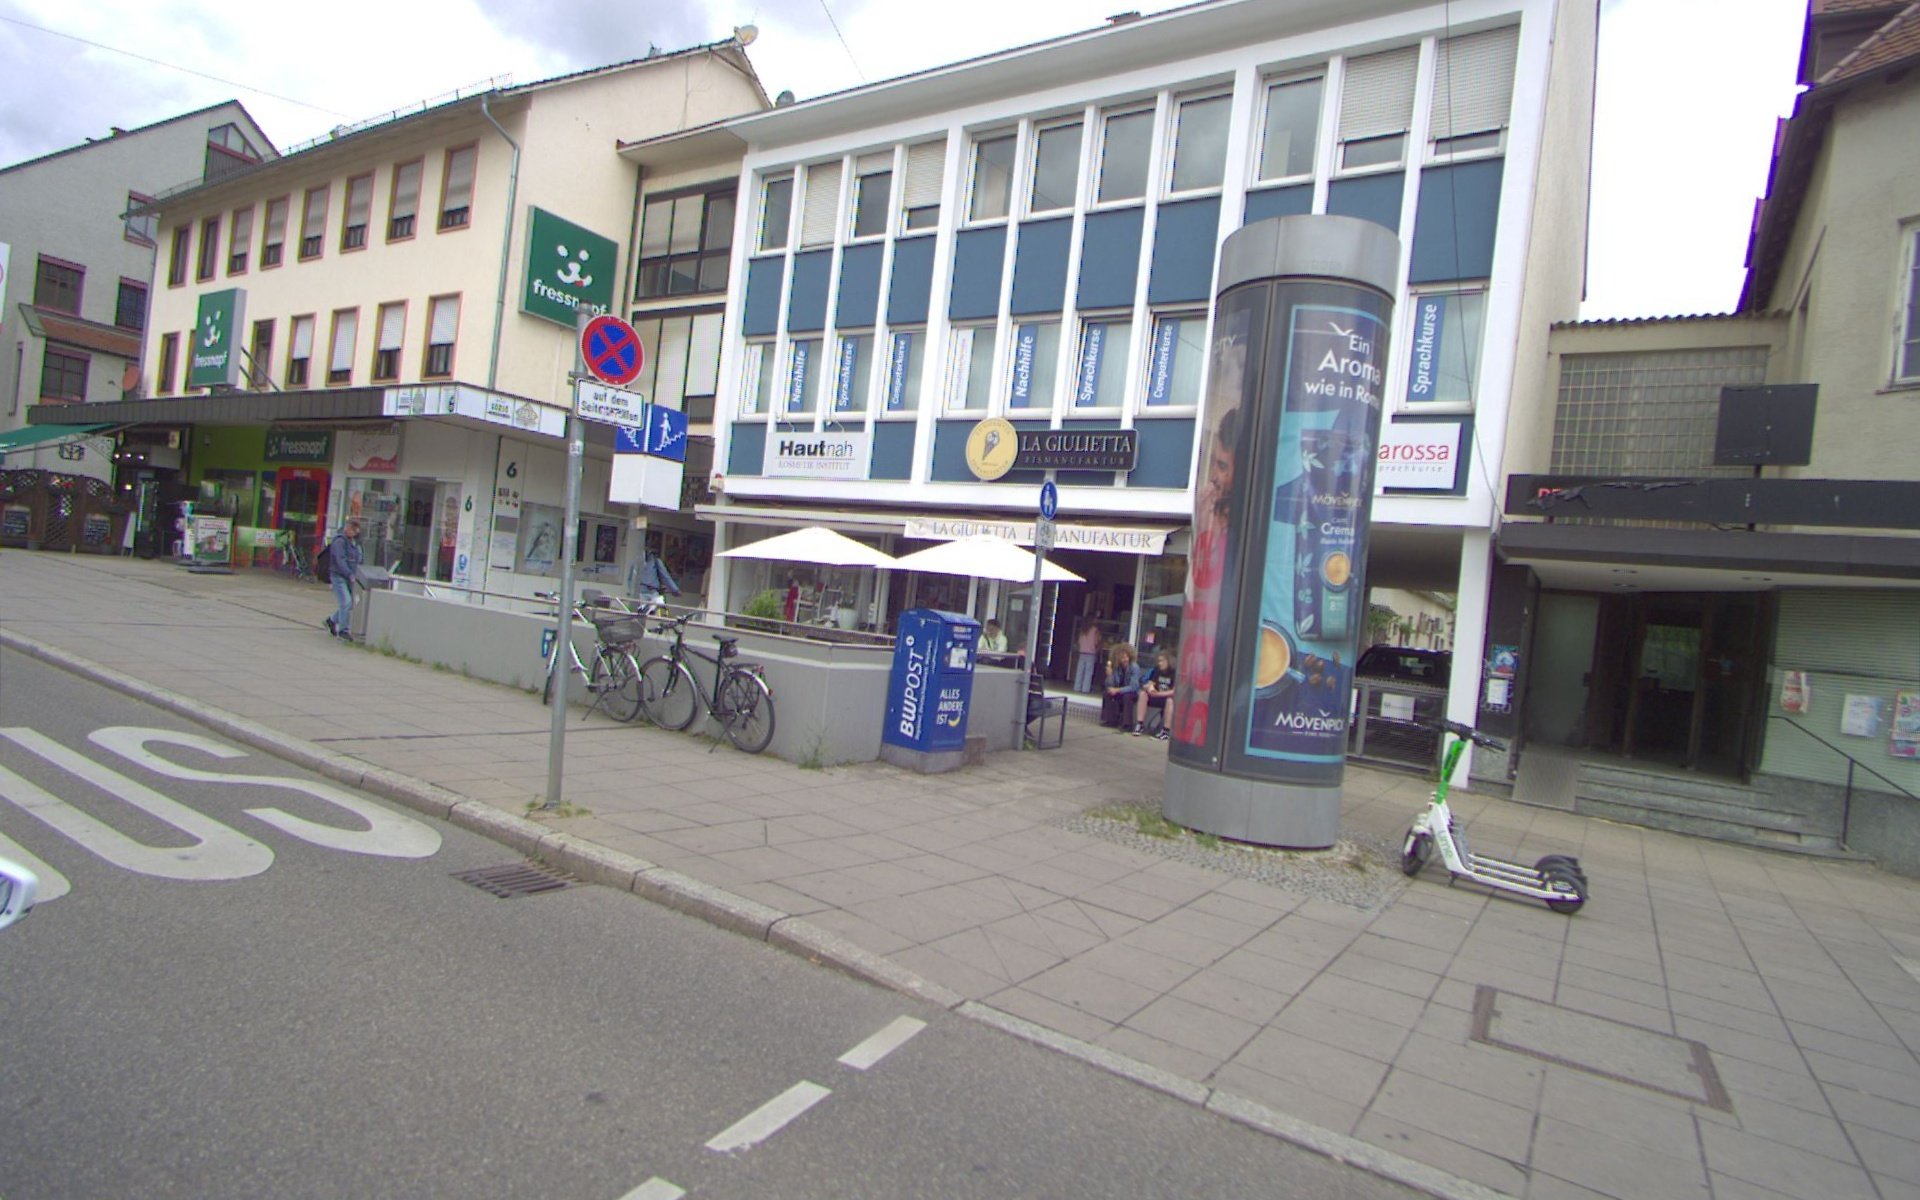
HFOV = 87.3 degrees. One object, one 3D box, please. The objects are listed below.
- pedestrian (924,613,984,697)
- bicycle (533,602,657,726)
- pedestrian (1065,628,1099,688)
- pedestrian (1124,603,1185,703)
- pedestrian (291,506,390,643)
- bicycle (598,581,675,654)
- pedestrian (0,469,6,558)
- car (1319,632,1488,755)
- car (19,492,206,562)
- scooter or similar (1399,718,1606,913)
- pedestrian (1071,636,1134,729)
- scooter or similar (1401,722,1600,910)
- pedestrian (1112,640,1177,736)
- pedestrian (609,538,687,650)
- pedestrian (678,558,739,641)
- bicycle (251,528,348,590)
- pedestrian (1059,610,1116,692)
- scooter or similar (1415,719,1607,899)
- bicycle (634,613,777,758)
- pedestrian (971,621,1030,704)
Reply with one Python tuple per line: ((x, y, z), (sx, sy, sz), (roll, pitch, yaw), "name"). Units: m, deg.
((-0.094, 0.887, 16.193), (0.578, 1.233, 0.615), (7, -2, 31), "pedestrian")
((-3.496, 0.591, 9.581), (1.365, 0.986, 0.273), (7, 1, 34), "bicycle")
((2.074, 0.987, 17.103), (0.347, 0.953, 0.301), (7, -2, 33), "pedestrian")
((3.100, 0.841, 15.985), (0.578, 1.476, 0.614), (7, -2, 32), "pedestrian")
((-8.103, -0.331, 13.157), (0.840, 1.655, 0.688), (7, 1, 34), "pedestrian")
((-5.094, 0.264, 15.822), (1.365, 0.986, 0.273), (7, 1, 34), "bicycle")
((-19.603, -1.755, 19.905), (0.768, 1.764, 0.796), (5, 1, 27), "pedestrian")
((7.735, 1.622, 17.346), (1.708, 1.686, 3.968), (7, -1, 36), "car")
((-29.419, -2.496, 35.058), (1.852, 1.638, 4.606), (6, -2, 37), "car")
((3.937, 1.529, 7.345), (1.189, 1.146, 0.314), (7, 1, 34), "scooter or similar")
((2.031, 1.164, 14.312), (0.578, 1.236, 0.613), (7, 2, 31), "pedestrian")
((4.092, 1.602, 7.654), (1.189, 1.146, 0.314), (7, 1, 34), "scooter or similar")
((2.573, 1.228, 14.017), (0.578, 1.235, 0.614), (7, 0, 31), "pedestrian")
((-4.967, -0.087, 16.012), (0.787, 1.654, 0.667), (7, 0, 33), "pedestrian")
((-5.361, -0.003, 21.466), (0.839, 1.655, 0.688), (7, 1, 30), "pedestrian")
((-14.031, -0.880, 21.348), (2.312, 1.076, 0.741), (7, 1, 31), "bicycle")
((2.103, 0.847, 16.564), (0.578, 1.233, 0.614), (7, -2, 32), "pedestrian")
((4.340, 1.611, 7.960), (1.189, 1.146, 0.314), (7, 1, 34), "scooter or similar")
((-2.247, 0.722, 8.819), (1.365, 1.066, 0.273), (7, 1, 34), "bicycle")
((0.654, 1.006, 16.093), (0.578, 1.235, 0.614), (7, 0, 31), "pedestrian")
